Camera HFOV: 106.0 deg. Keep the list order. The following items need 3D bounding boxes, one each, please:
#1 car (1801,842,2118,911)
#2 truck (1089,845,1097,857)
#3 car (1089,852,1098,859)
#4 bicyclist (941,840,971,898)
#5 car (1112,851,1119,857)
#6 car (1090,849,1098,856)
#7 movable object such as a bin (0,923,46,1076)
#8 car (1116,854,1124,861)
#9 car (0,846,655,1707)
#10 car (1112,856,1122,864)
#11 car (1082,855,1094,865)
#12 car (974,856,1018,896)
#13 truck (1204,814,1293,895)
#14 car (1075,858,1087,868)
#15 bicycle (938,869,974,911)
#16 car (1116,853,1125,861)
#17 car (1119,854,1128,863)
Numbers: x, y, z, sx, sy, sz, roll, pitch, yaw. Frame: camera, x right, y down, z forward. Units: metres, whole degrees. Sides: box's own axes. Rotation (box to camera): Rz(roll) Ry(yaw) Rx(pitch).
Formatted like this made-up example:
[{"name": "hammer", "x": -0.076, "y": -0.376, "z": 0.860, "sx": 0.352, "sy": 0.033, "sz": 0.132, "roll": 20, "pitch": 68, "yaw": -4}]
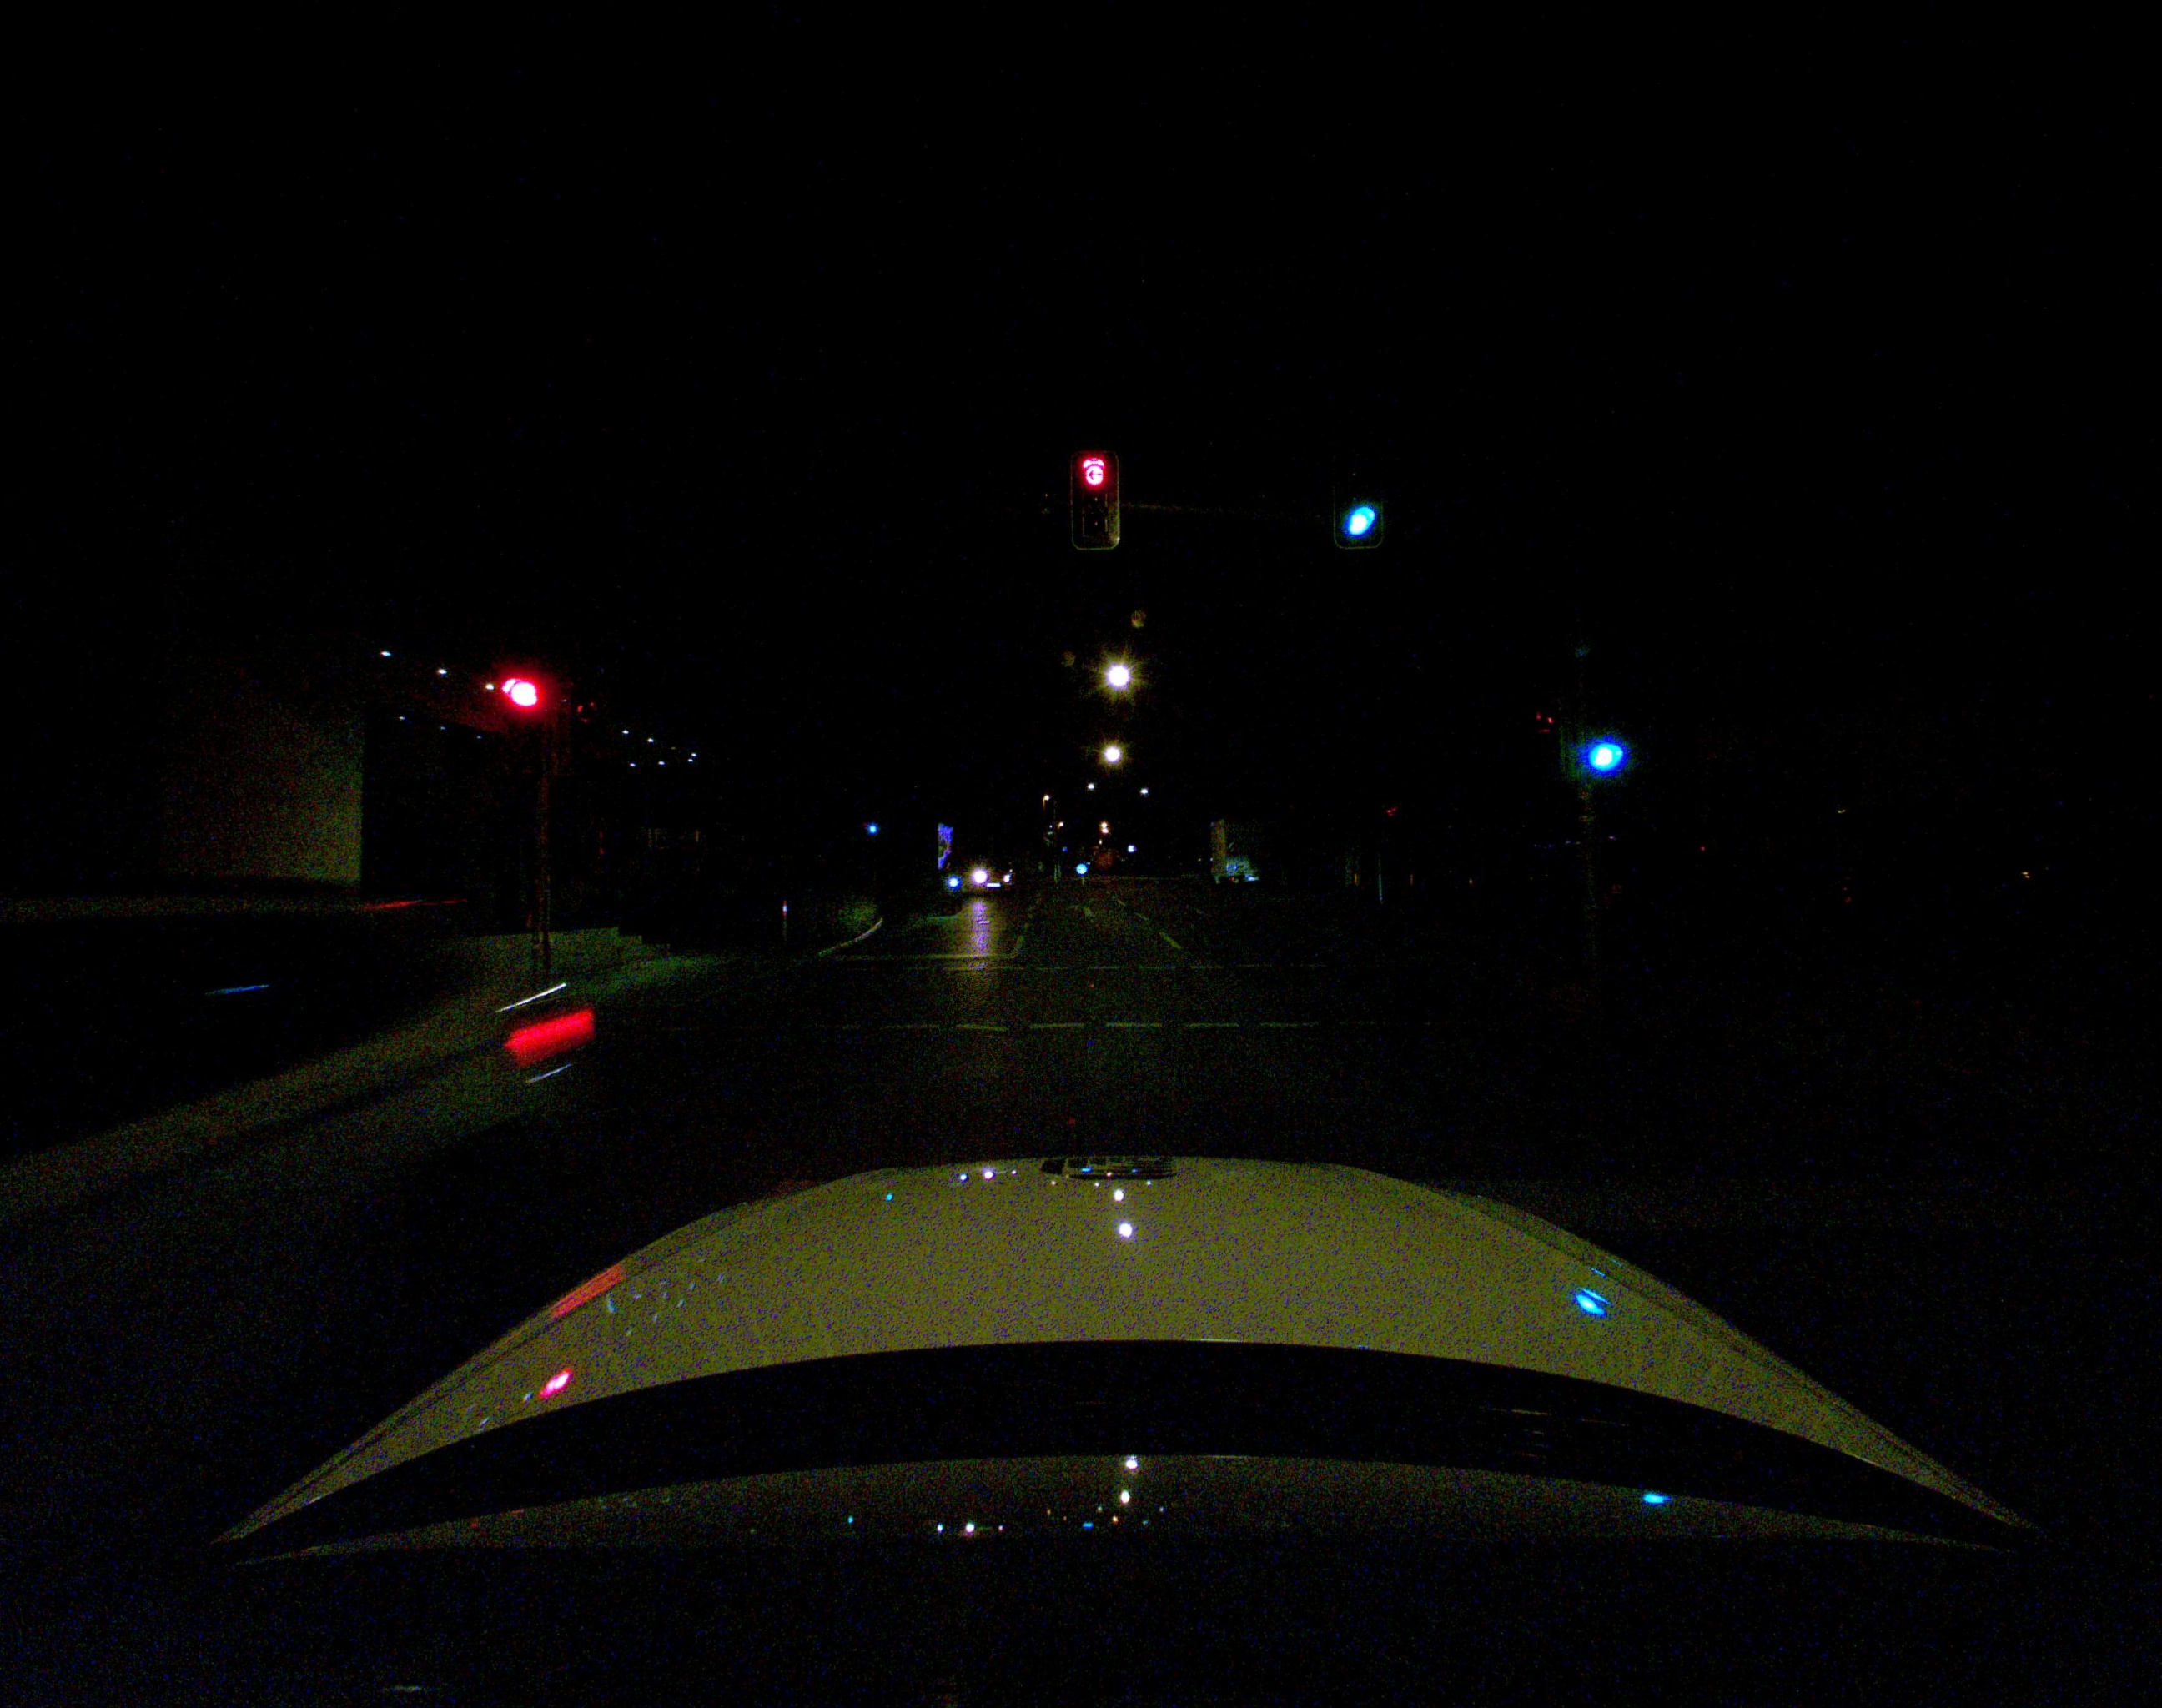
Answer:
[{"name": "car", "x": 17.322, "y": 0.451, "z": 16.270, "sx": 4.107, "sy": 1.280, "sz": 1.770, "roll": -1, "pitch": -1, "yaw": 9}, {"name": "truck", "x": 3.138, "y": -0.732, "z": 209.807, "sx": 2.079, "sy": 2.848, "sz": 5.831, "roll": 0, "pitch": 0, "yaw": 0}, {"name": "car", "x": 2.431, "y": 0.301, "z": 160.752, "sx": 1.809, "sy": 1.491, "sz": 4.000, "roll": 0, "pitch": 0, "yaw": 0}, {"name": "bicyclist", "x": -3.613, "y": 0.440, "z": 23.667, "sx": 0.688, "sy": 1.637, "sz": 0.896, "roll": -1, "pitch": -1, "yaw": 1}, {"name": "car", "x": 8.183, "y": 0.058, "z": 191.556, "sx": 1.628, "sy": 1.452, "sz": 3.486, "roll": 0, "pitch": 0, "yaw": 2}, {"name": "car", "x": 2.996, "y": -0.343, "z": 187.155, "sx": 1.809, "sy": 1.491, "sz": 4.000, "roll": 0, "pitch": 0, "yaw": 0}, {"name": "movable object such as a bin", "x": -7.927, "y": 1.039, "z": 5.702, "sx": 0.633, "sy": 1.049, "sz": 0.657, "roll": -1, "pitch": -1, "yaw": 19}, {"name": "car", "x": 7.606, "y": 0.696, "z": 159.328, "sx": 1.628, "sy": 1.452, "sz": 3.486, "roll": 0, "pitch": 0, "yaw": 2}, {"name": "car", "x": -2.652, "y": 0.760, "z": 1.154, "sx": 1.850, "sy": 1.534, "sz": 4.030, "roll": 0, "pitch": 0, "yaw": 2}, {"name": "car", "x": 6.100, "y": 1.002, "z": 137.783, "sx": 1.587, "sy": 1.476, "sz": 3.655, "roll": 0, "pitch": 0, "yaw": 2}, {"name": "car", "x": 1.195, "y": 0.998, "z": 134.626, "sx": 1.808, "sy": 1.684, "sz": 4.002, "roll": 0, "pitch": 0, "yaw": 2}, {"name": "car", "x": -3.420, "y": 0.858, "z": 33.075, "sx": 1.578, "sy": 1.501, "sz": 3.392, "roll": -1, "pitch": 0, "yaw": -3}, {"name": "truck", "x": 6.948, "y": 0.013, "z": 34.569, "sx": 2.738, "sy": 3.110, "sz": 6.262, "roll": 0, "pitch": 0, "yaw": 2}, {"name": "car", "x": 0.064, "y": 1.331, "z": 118.413, "sx": 1.628, "sy": 1.452, "sz": 3.486, "roll": 0, "pitch": 0, "yaw": 2}, {"name": "bicycle", "x": -3.603, "y": 1.013, "z": 23.601, "sx": 0.693, "sy": 1.149, "sz": 1.951, "roll": -1, "pitch": -1, "yaw": 2}, {"name": "car", "x": 7.469, "y": 0.635, "z": 153.143, "sx": 1.628, "sy": 1.452, "sz": 3.486, "roll": 0, "pitch": 0, "yaw": 2}, {"name": "car", "x": 7.484, "y": 0.812, "z": 143.398, "sx": 1.628, "sy": 1.452, "sz": 3.486, "roll": 0, "pitch": 0, "yaw": 2}]
